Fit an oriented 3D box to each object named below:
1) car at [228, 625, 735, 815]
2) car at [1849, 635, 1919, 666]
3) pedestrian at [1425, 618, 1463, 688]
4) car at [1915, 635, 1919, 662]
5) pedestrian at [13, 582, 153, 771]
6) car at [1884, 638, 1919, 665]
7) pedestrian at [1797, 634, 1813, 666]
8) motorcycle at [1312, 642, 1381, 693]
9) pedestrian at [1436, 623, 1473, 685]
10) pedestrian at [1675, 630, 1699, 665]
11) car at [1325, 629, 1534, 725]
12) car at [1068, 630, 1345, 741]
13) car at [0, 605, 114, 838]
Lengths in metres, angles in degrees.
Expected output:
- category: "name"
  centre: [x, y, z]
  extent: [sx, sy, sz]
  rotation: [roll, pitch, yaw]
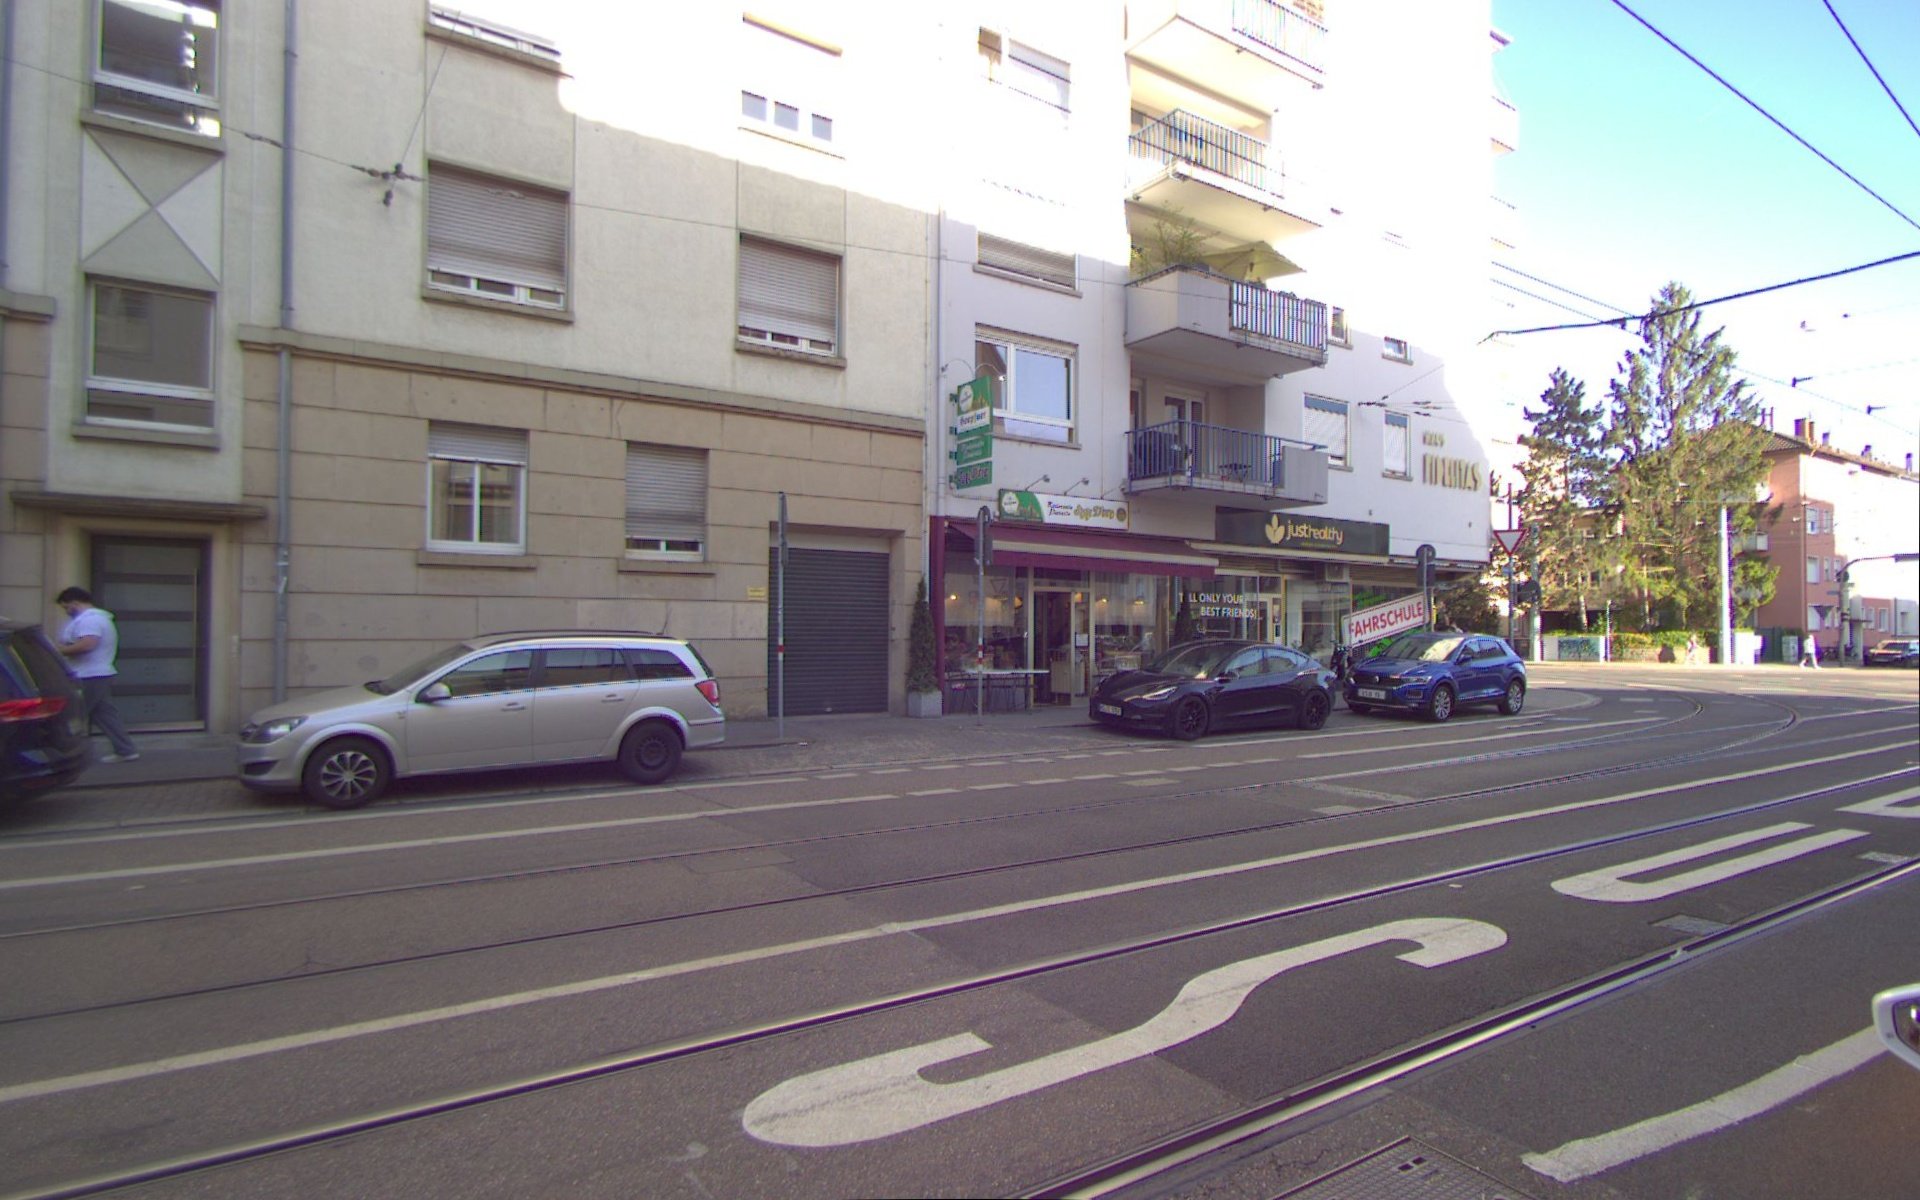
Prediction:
- category: "car"
  centre: [-4.666, 1.060, 10.164]
  extent: [4.327, 1.474, 1.714]
  rotation: [2, 1, -35]
- category: "car"
  centre: [49.744, 2.708, 53.856]
  extent: [4.397, 1.450, 2.140]
  rotation: [4, -2, -35]
- category: "pedestrian"
  centre: [13.638, 1.488, 28.332]
  extent: [0.727, 1.925, 0.573]
  rotation: [3, -2, -15]
- category: "car"
  centre: [58.186, 2.900, 59.268]
  extent: [4.185, 1.546, 1.731]
  rotation: [2, 0, -34]
- category: "pedestrian"
  centre: [-8.760, 0.735, 10.076]
  extent: [0.998, 1.791, 0.656]
  rotation: [2, 0, -40]
- category: "car"
  centre: [54.273, 2.916, 56.836]
  extent: [4.057, 1.455, 1.893]
  rotation: [2, 0, -32]
- category: "pedestrian"
  centre: [41.941, 2.478, 49.865]
  extent: [0.511, 1.589, 0.570]
  rotation: [2, 0, 44]
- category: "motorcycle"
  centre: [9.216, 1.582, 23.915]
  extent: [1.778, 1.149, 0.603]
  rotation: [2, 0, -34]
- category: "pedestrian"
  centre: [14.685, 1.589, 29.849]
  extent: [0.653, 1.816, 0.733]
  rotation: [1, -1, -26]
- category: "pedestrian"
  centre: [37.811, 2.448, 52.222]
  extent: [0.768, 1.744, 0.705]
  rotation: [2, 0, 17]
- category: "car"
  centre: [8.967, 1.376, 19.074]
  extent: [4.196, 1.524, 1.757]
  rotation: [1, 1, -36]
- category: "car"
  centre: [3.999, 1.281, 16.051]
  extent: [4.398, 1.494, 1.759]
  rotation: [2, 0, -33]
- category: "car"
  centre: [-8.977, 0.857, 7.171]
  extent: [4.282, 1.655, 1.802]
  rotation: [2, 1, -35]
